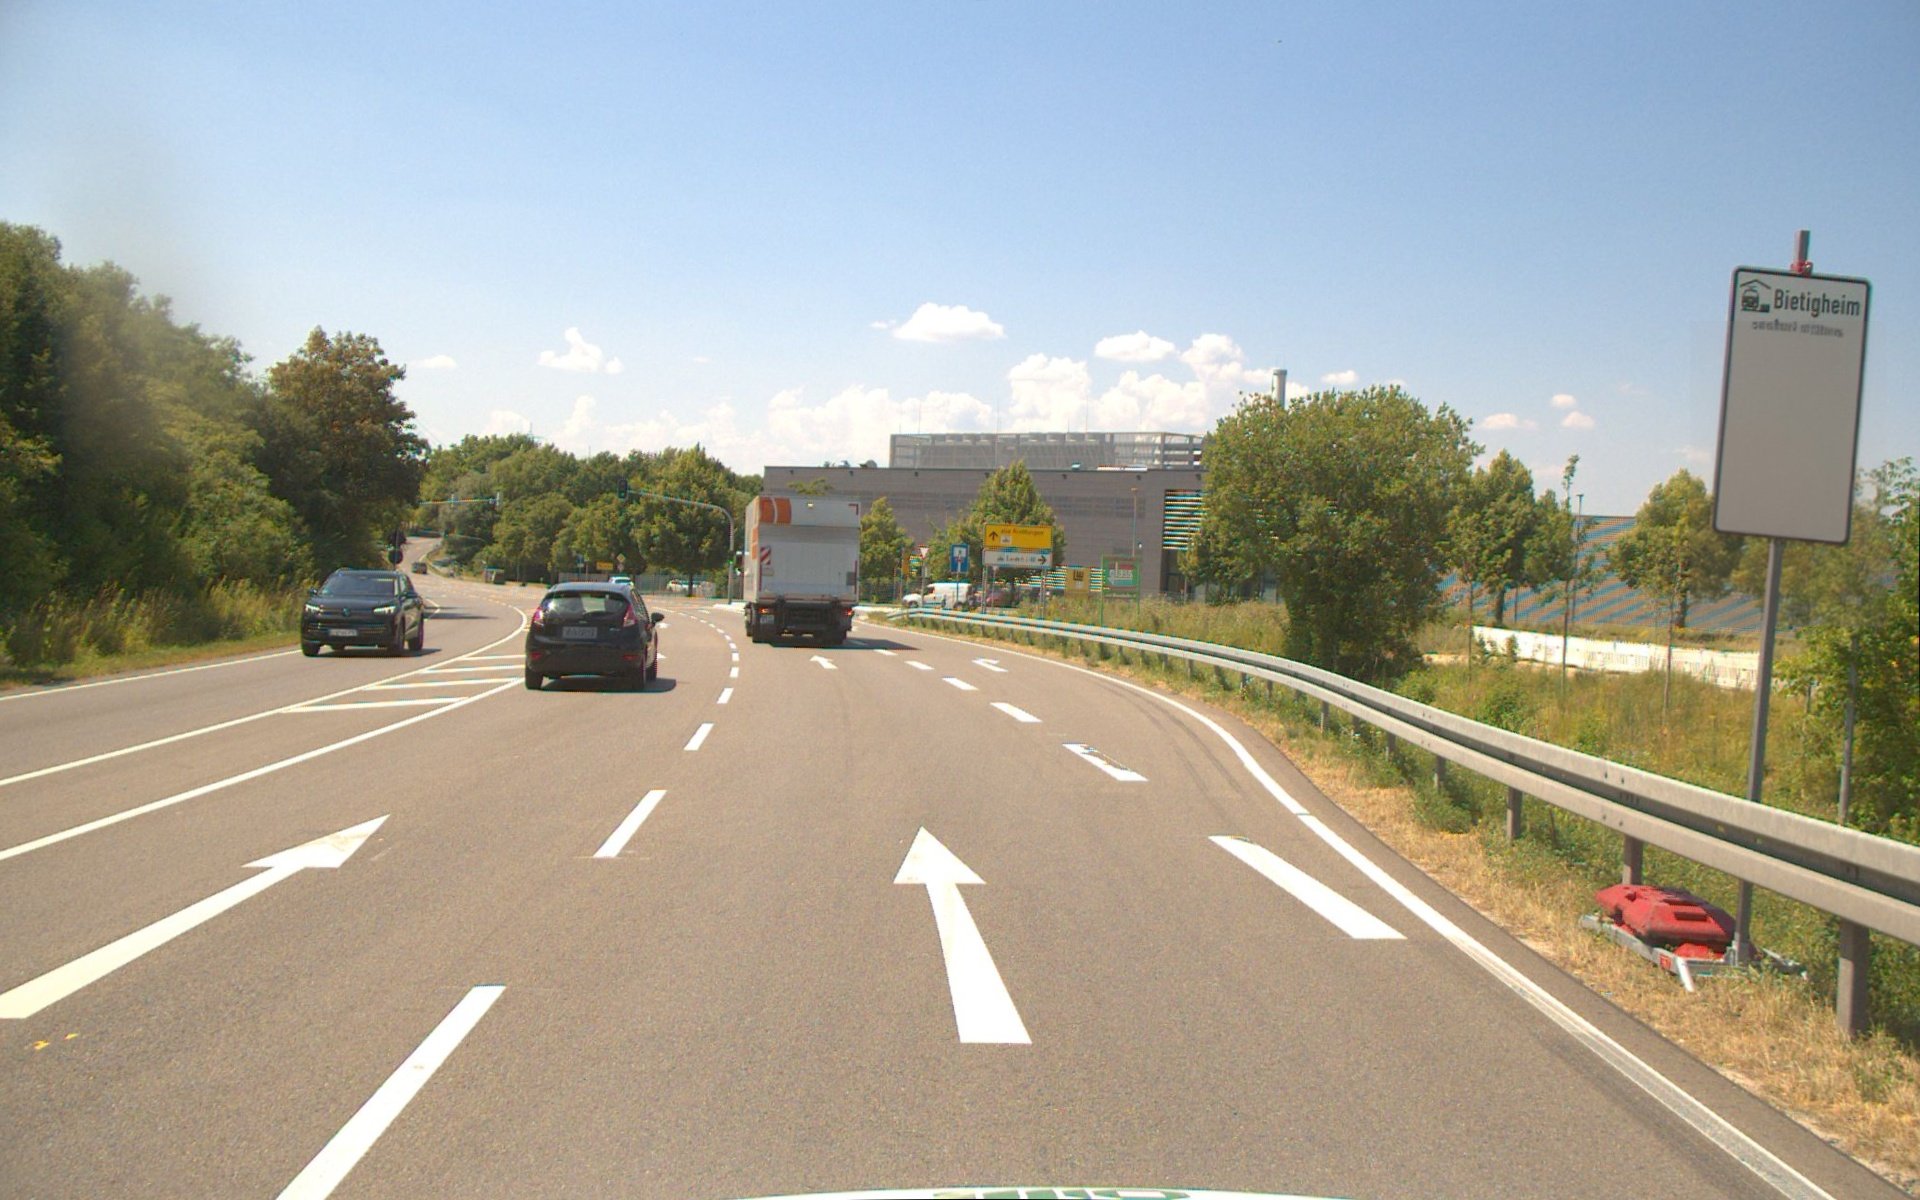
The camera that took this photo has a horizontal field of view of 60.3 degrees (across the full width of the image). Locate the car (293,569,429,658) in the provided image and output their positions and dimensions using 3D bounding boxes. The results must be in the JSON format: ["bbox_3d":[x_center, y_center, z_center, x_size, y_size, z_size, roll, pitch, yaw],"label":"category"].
[{"bbox_3d":[-11.883,0.230,33.097,1.959,1.620,4.667,1,0,-13],"label":"car"}]

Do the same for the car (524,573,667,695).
[{"bbox_3d":[-5.288,0.428,24.398,1.622,1.519,4.202,2,2,-7],"label":"car"}]

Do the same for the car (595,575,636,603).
[{"bbox_3d":[-24.012,-0.772,115.161,1.918,1.693,3.971,4,0,-24],"label":"car"}]

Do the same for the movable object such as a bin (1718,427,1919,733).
[{"bbox_3d":[18.364,-0.342,30.466,3.359,5.350,9.218,3,3,-7],"label":"movable object such as a bin"}]

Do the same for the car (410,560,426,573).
[{"bbox_3d":[-76.508,-4.721,233.604,1.962,1.713,3.982,1,0,-17],"label":"car"}]

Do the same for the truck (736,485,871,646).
[{"bbox_3d":[-4.346,-0.936,44.144,2.753,3.775,9.086,2,1,-10],"label":"truck"}]

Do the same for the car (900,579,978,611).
[{"bbox_3d":[-1.366,-0.327,107.033,4.644,1.966,2.155,1,0,11],"label":"car"}]
